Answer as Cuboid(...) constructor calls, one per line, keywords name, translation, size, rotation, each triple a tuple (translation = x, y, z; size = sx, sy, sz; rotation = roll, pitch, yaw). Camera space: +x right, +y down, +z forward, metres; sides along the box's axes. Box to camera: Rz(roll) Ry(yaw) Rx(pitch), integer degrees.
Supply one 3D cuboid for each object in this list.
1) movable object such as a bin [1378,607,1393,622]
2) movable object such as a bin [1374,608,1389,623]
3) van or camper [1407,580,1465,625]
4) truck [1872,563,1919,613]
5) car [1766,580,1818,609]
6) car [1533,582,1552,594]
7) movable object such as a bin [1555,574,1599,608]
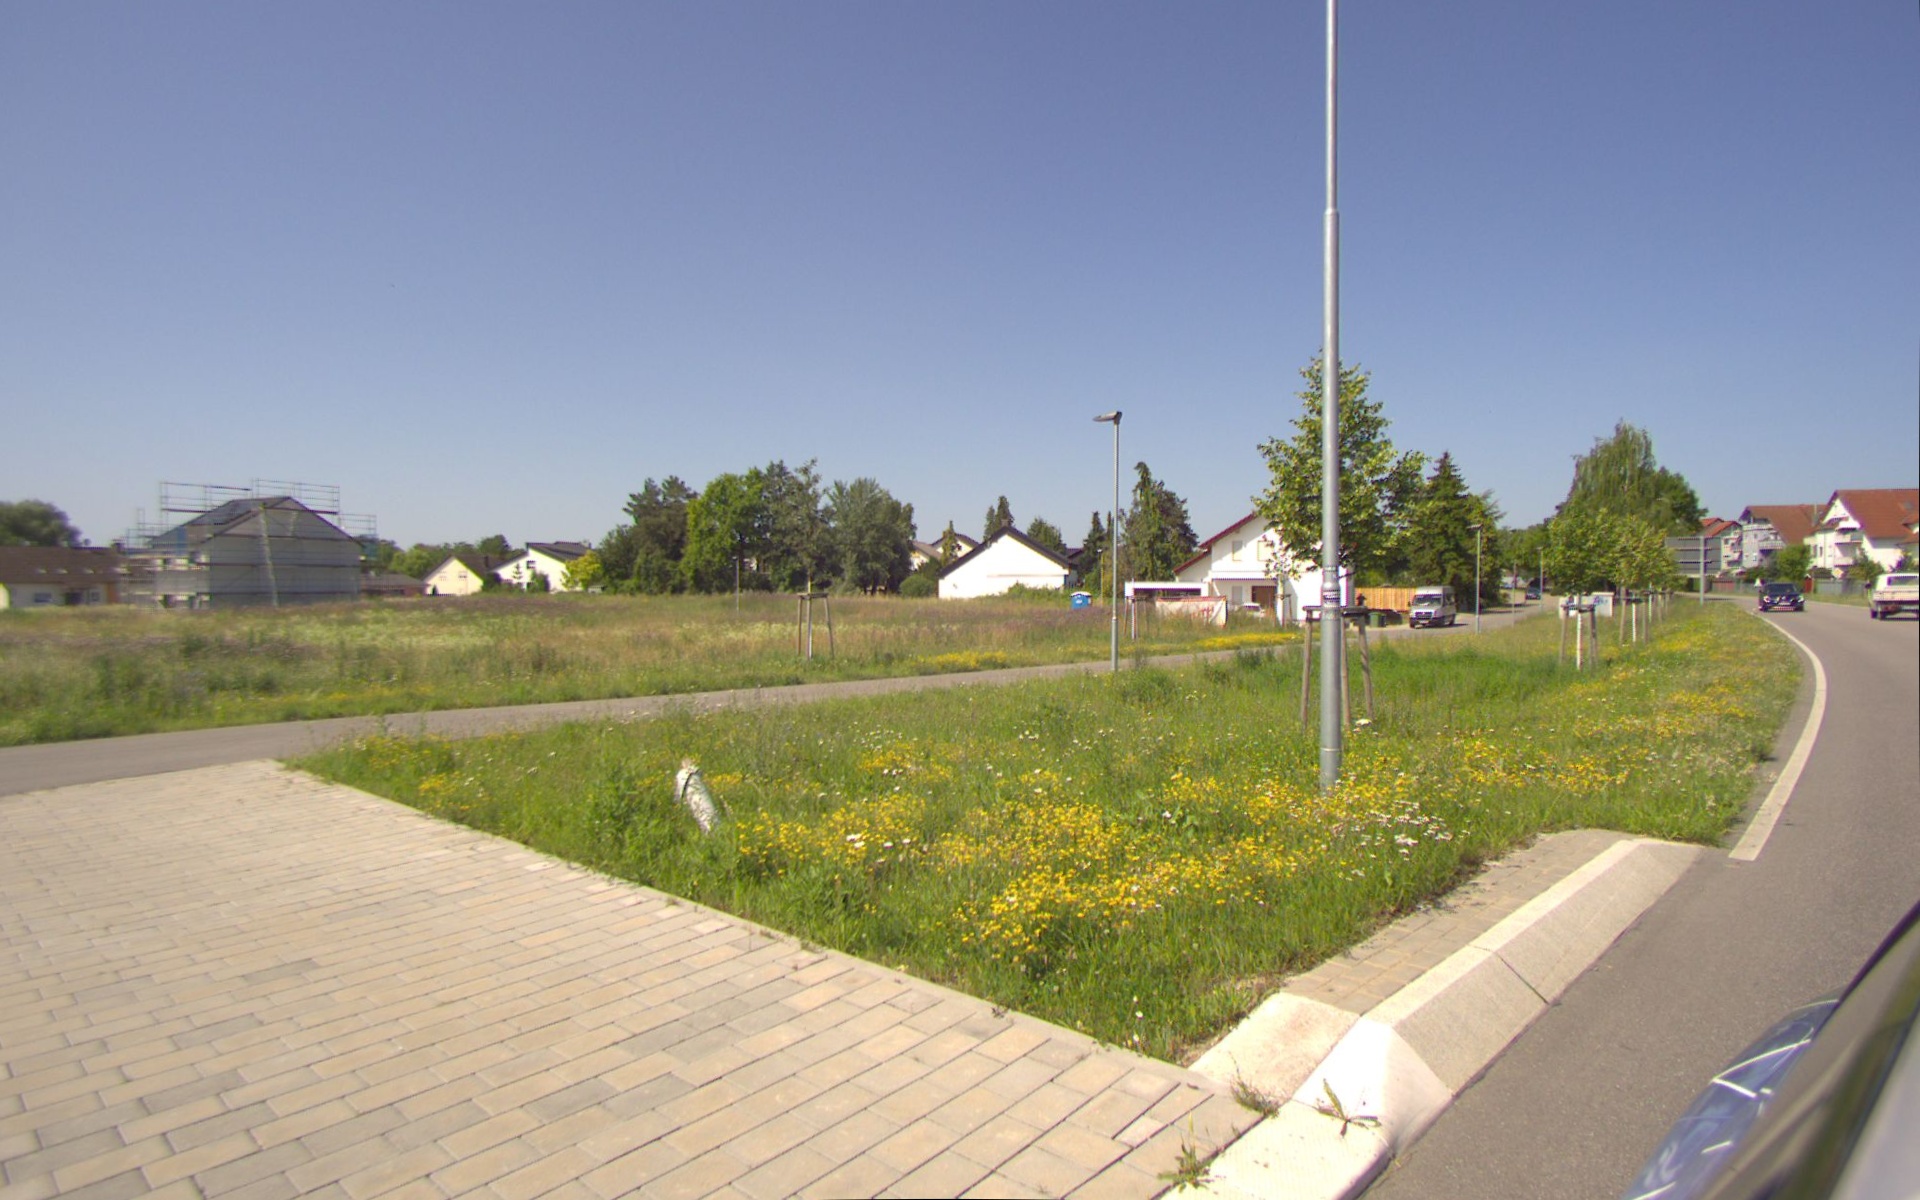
Cuboid(name="movable object such as a bin", translation=(26.972, 0.934, 64.196), size=(0.692, 0.949, 0.629), rotation=(-1, 0, 42))
Cuboid(name="movable object such as a bin", translation=(26.529, 0.955, 63.677), size=(0.692, 0.949, 0.629), rotation=(-1, 0, 42))
Cuboid(name="van or camper", translation=(30.355, 0.107, 64.468), size=(2.166, 2.633, 5.952), rotation=(-1, 1, 37))
Cuboid(name="truck", translation=(40.366, -0.539, 42.884), size=(1.946, 2.010, 5.571), rotation=(-2, 0, 36))
Cuboid(name="car", translation=(47.790, -0.332, 58.211), size=(1.921, 1.581, 3.951), rotation=(0, 0, 34))
Cuboid(name="car", translation=(74.777, -1.516, 129.922), size=(1.850, 1.463, 4.120), rotation=(-2, 0, 33))
Cuboid(name="movable object such as a bin", translation=(47.905, -0.733, 78.459), size=(2.310, 2.494, 6.856), rotation=(-1, 1, 36))
